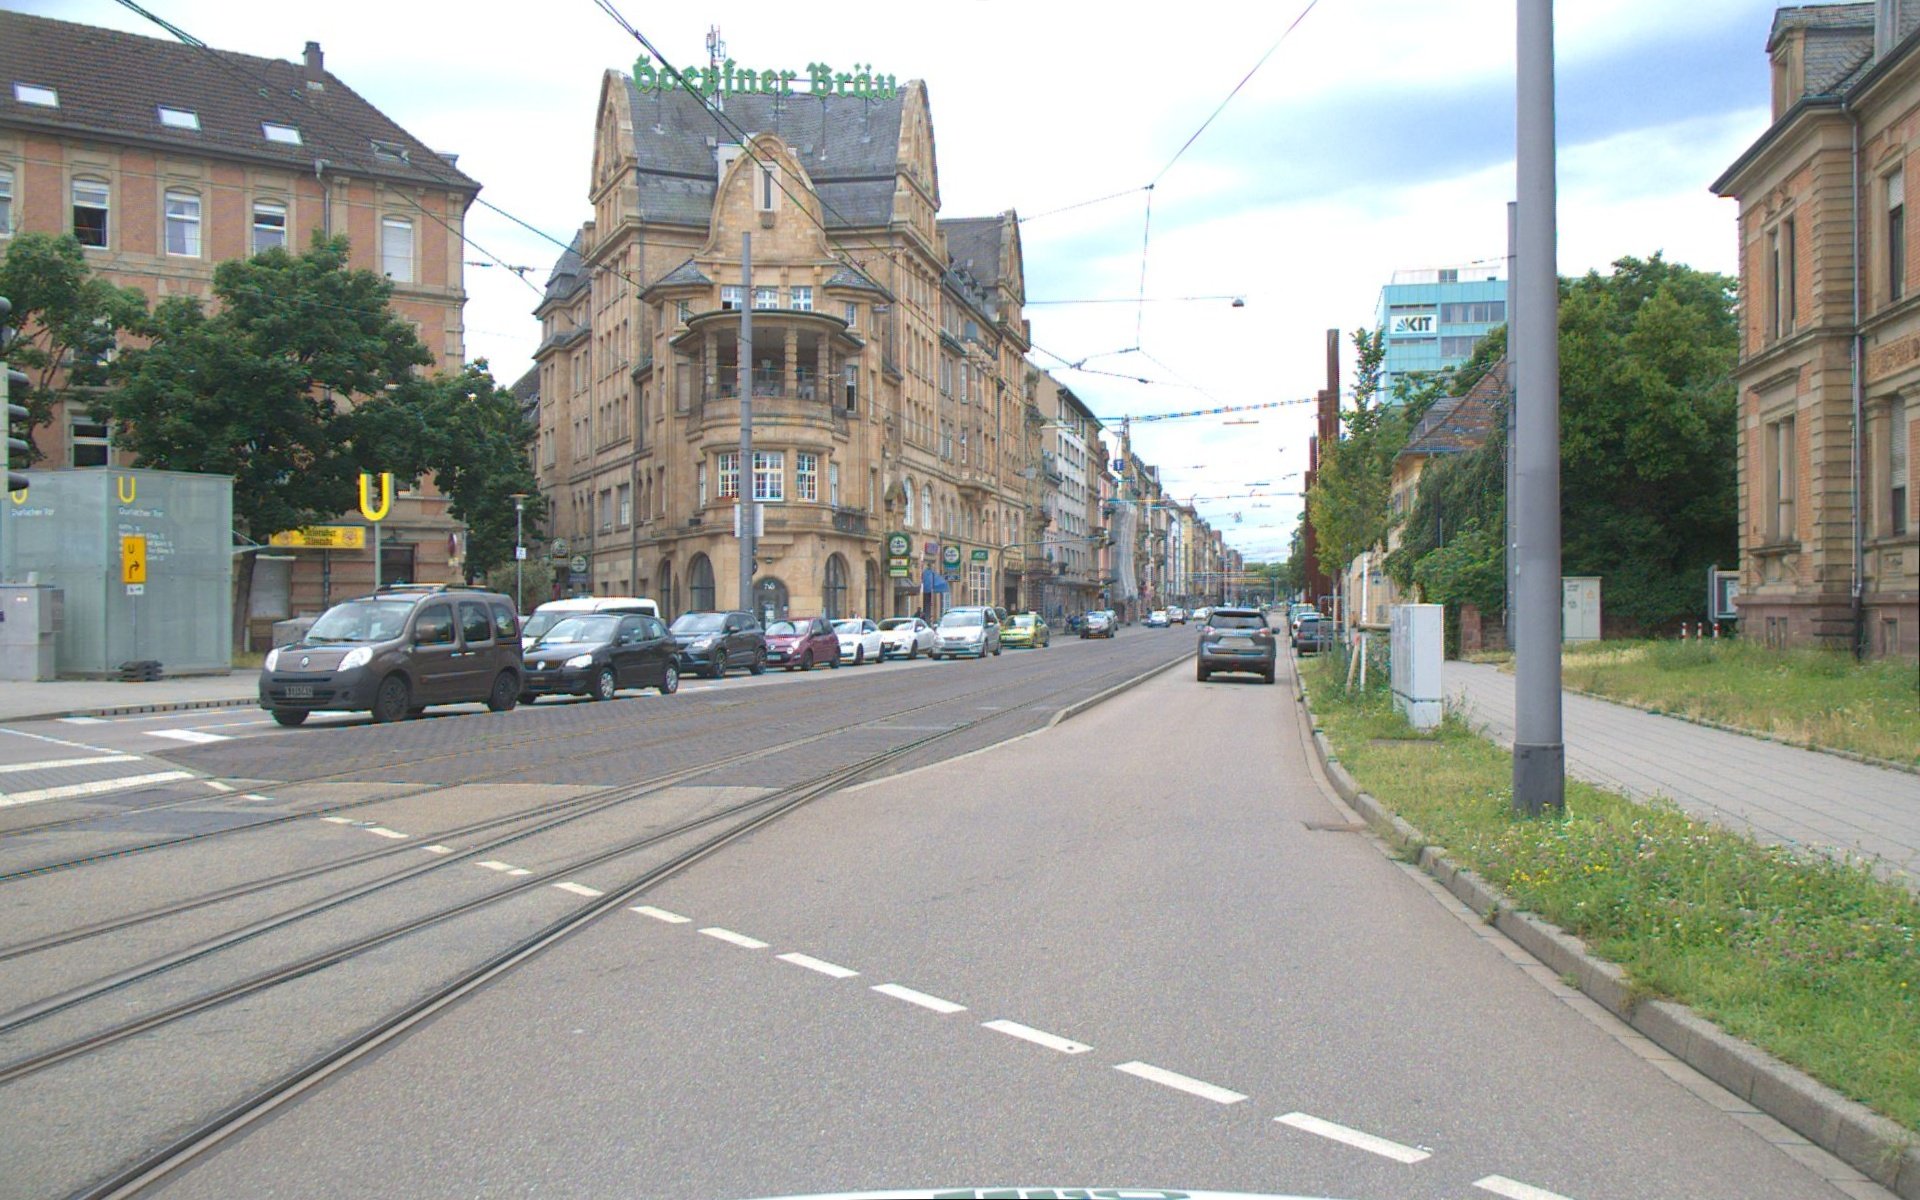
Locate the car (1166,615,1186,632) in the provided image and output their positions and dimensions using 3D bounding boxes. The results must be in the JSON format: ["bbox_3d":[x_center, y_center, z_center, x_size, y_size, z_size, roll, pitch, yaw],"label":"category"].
[{"bbox_3d":[22.233,2.398,169.792,1.721,1.701,4.618,0,0,11],"label":"car"}]

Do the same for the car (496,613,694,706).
[{"bbox_3d":[-6.120,0.965,28.206,1.653,1.467,4.003,-1,-1,15],"label":"car"}]

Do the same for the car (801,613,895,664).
[{"bbox_3d":[-3.427,1.165,51.296,1.709,1.404,4.366,-3,-1,12],"label":"car"}]

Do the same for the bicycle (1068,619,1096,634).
[{"bbox_3d":[8.537,1.861,115.504,1.925,1.019,0.463,0,-1,4],"label":"bicycle"}]

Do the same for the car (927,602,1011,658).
[{"bbox_3d":[0.355,0.977,55.612,1.823,1.736,4.913,-2,-1,12],"label":"car"}]

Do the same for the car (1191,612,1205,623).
[{"bbox_3d":[31.244,2.280,217.201,1.651,1.445,4.138,0,0,11],"label":"car"}]

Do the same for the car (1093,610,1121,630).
[{"bbox_3d":[11.623,1.567,130.624,1.738,1.531,4.405,0,0,11],"label":"car"}]

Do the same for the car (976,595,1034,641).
[{"bbox_3d":[2.182,0.834,78.608,1.858,2.012,5.101,-3,-1,11],"label":"car"}]

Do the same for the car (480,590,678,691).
[{"bbox_3d":[-7.829,0.789,34.579,1.823,1.949,5.104,0,0,16],"label":"car"}]

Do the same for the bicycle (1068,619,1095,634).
[{"bbox_3d":[8.415,1.822,114.769,1.881,1.019,0.463,0,-1,4],"label":"bicycle"}]

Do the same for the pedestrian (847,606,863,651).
[{"bbox_3d":[-4.146,1.122,65.501,0.618,1.749,0.532,0,-1,-3],"label":"pedestrian"}]

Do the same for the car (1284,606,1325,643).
[{"bbox_3d":[15.974,1.135,76.898,1.717,1.602,3.934,-3,-1,11],"label":"car"}]

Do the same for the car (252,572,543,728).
[{"bbox_3d":[-7.605,0.647,22.849,1.653,1.933,4.389,-1,-1,15],"label":"car"}]

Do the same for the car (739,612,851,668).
[{"bbox_3d":[-4.513,1.080,45.837,1.823,1.423,3.898,-2,-1,14],"label":"car"}]

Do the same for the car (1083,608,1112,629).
[{"bbox_3d":[10.380,1.377,124.383,1.738,1.531,4.405,0,0,11],"label":"car"}]

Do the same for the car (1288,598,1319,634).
[{"bbox_3d":[22.388,1.039,108.031,1.812,2.152,4.988,-3,-1,11],"label":"car"}]

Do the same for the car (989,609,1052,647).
[{"bbox_3d":[2.678,1.178,71.954,1.858,1.537,4.431,-2,-1,13],"label":"car"}]

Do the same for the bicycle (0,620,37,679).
[{"bbox_3d":[-23.226,1.190,40.160,0.944,1.378,3.101,1,-1,-20],"label":"bicycle"}]

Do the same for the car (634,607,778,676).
[{"bbox_3d":[-6.133,0.977,40.453,1.823,1.561,4.305,-2,-1,16],"label":"car"}]

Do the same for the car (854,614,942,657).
[{"bbox_3d":[-2.079,1.198,56.608,1.885,1.404,4.261,0,0,14],"label":"car"}]

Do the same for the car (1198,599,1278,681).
[{"bbox_3d":[6.637,0.913,39.216,1.712,1.786,3.927,2,0,11],"label":"car"}]

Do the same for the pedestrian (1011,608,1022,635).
[{"bbox_3d":[3.401,1.297,100.140,0.556,1.626,0.719,0,-1,11],"label":"pedestrian"}]

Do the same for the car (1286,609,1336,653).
[{"bbox_3d":[12.786,1.108,60.371,1.602,1.459,3.934,-3,-1,11],"label":"car"}]

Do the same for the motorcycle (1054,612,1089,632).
[{"bbox_3d":[7.590,1.479,112.578,2.307,1.325,0.876,0,-1,-26],"label":"motorcycle"}]

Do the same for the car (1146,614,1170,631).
[{"bbox_3d":[17.979,2.057,150.049,1.721,1.475,4.618,0,0,11],"label":"car"}]
